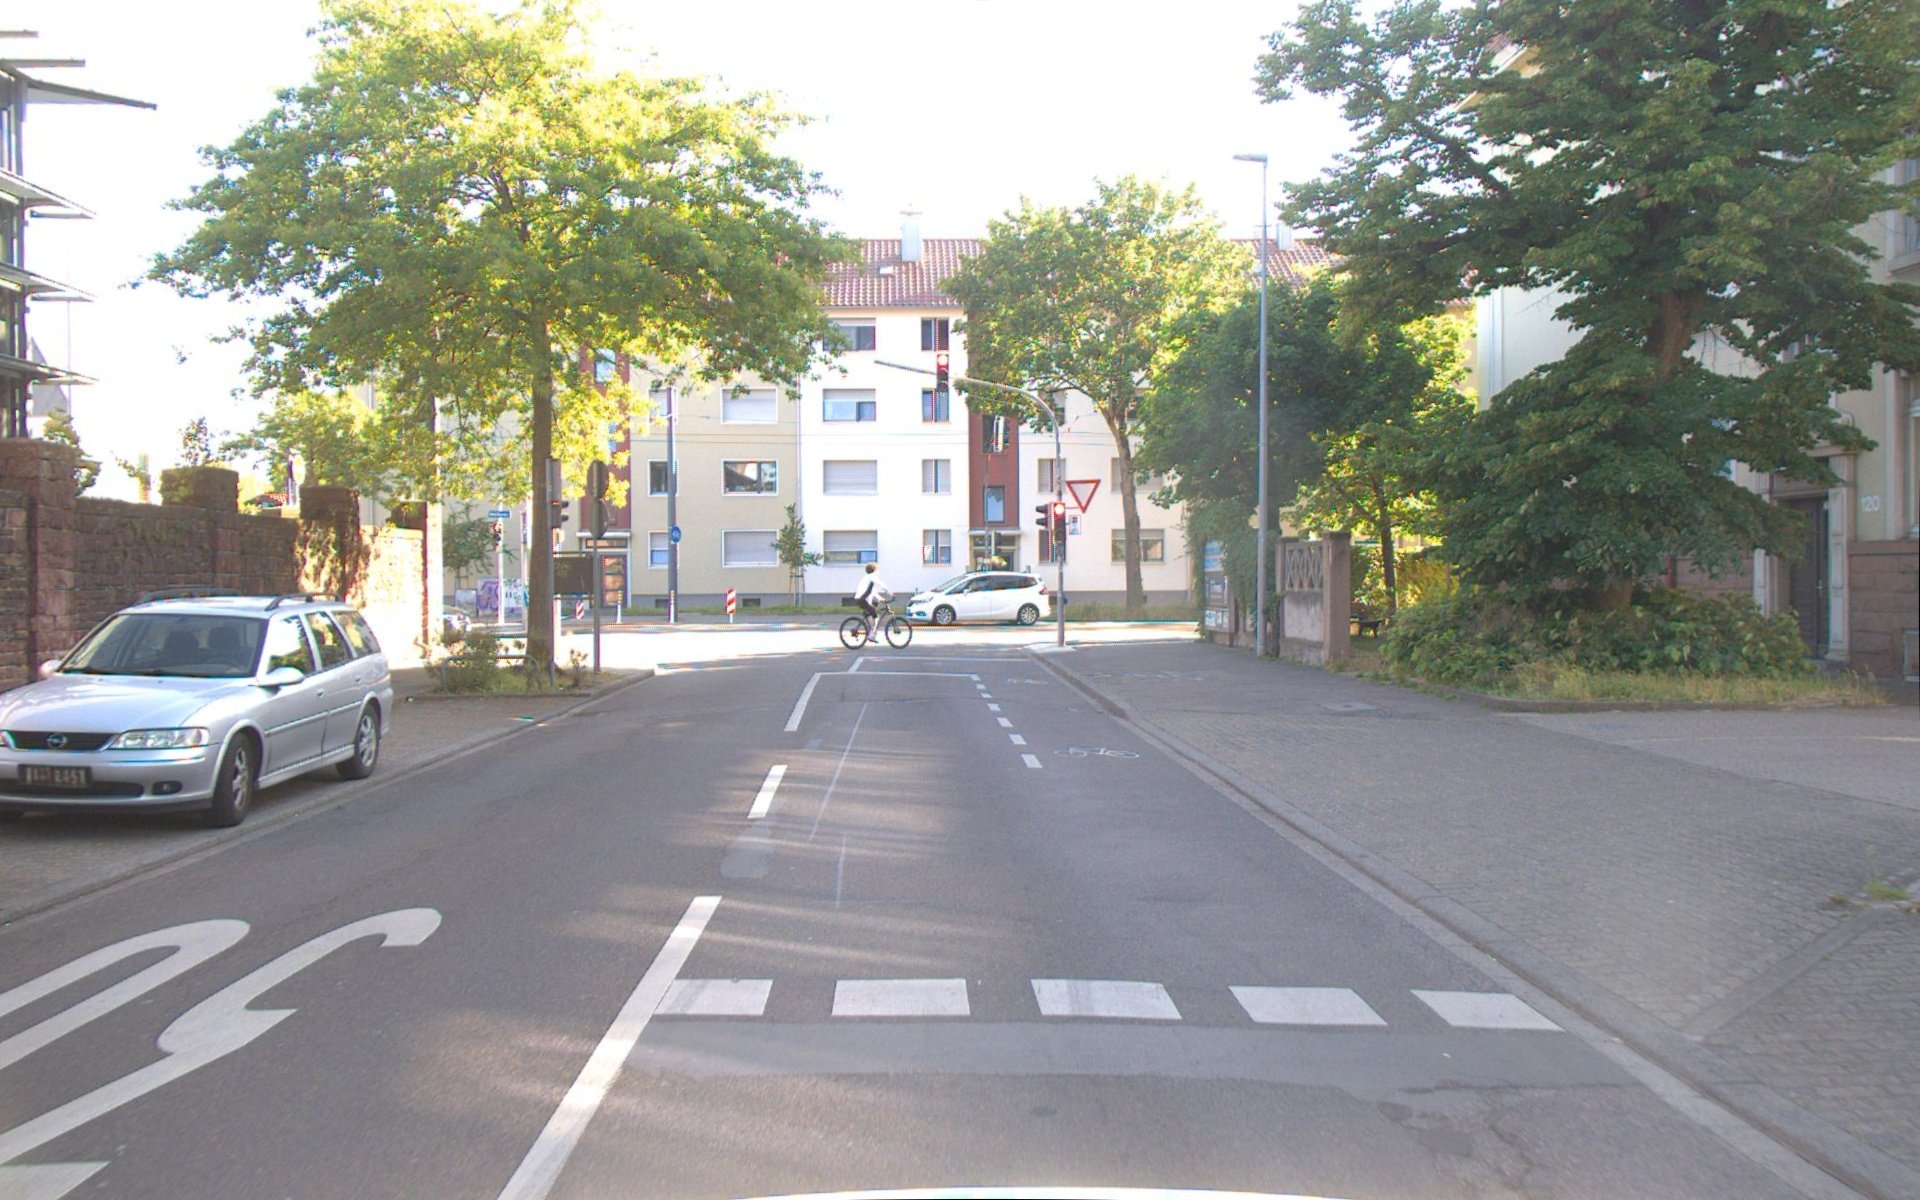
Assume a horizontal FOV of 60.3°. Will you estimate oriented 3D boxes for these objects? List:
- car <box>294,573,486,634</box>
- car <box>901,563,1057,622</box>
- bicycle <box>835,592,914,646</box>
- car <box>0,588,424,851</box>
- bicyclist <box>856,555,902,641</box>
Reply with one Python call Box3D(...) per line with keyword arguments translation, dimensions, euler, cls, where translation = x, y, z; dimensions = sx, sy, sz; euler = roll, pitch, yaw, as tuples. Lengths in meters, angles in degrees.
Box3D(translation=(-13.919, 0.079, 40.576), dimensions=(4.111, 1.446, 1.851), euler=(0, 1, -5), cls="car")
Box3D(translation=(0.568, -0.264, 52.062), dimensions=(4.582, 1.769, 1.993), euler=(-1, 1, -14), cls="car")
Box3D(translation=(-1.798, 0.395, 34.955), dimensions=(1.662, 1.099, 0.349), euler=(-1, 1, -25), cls="bicycle")
Box3D(translation=(-5.448, 0.703, 12.146), dimensions=(1.691, 1.501, 4.477), euler=(1, 1, -2), cls="car")
Box3D(translation=(-1.724, -0.042, 35.011), dimensions=(0.777, 1.787, 0.607), euler=(-1, 1, -27), cls="bicyclist")
